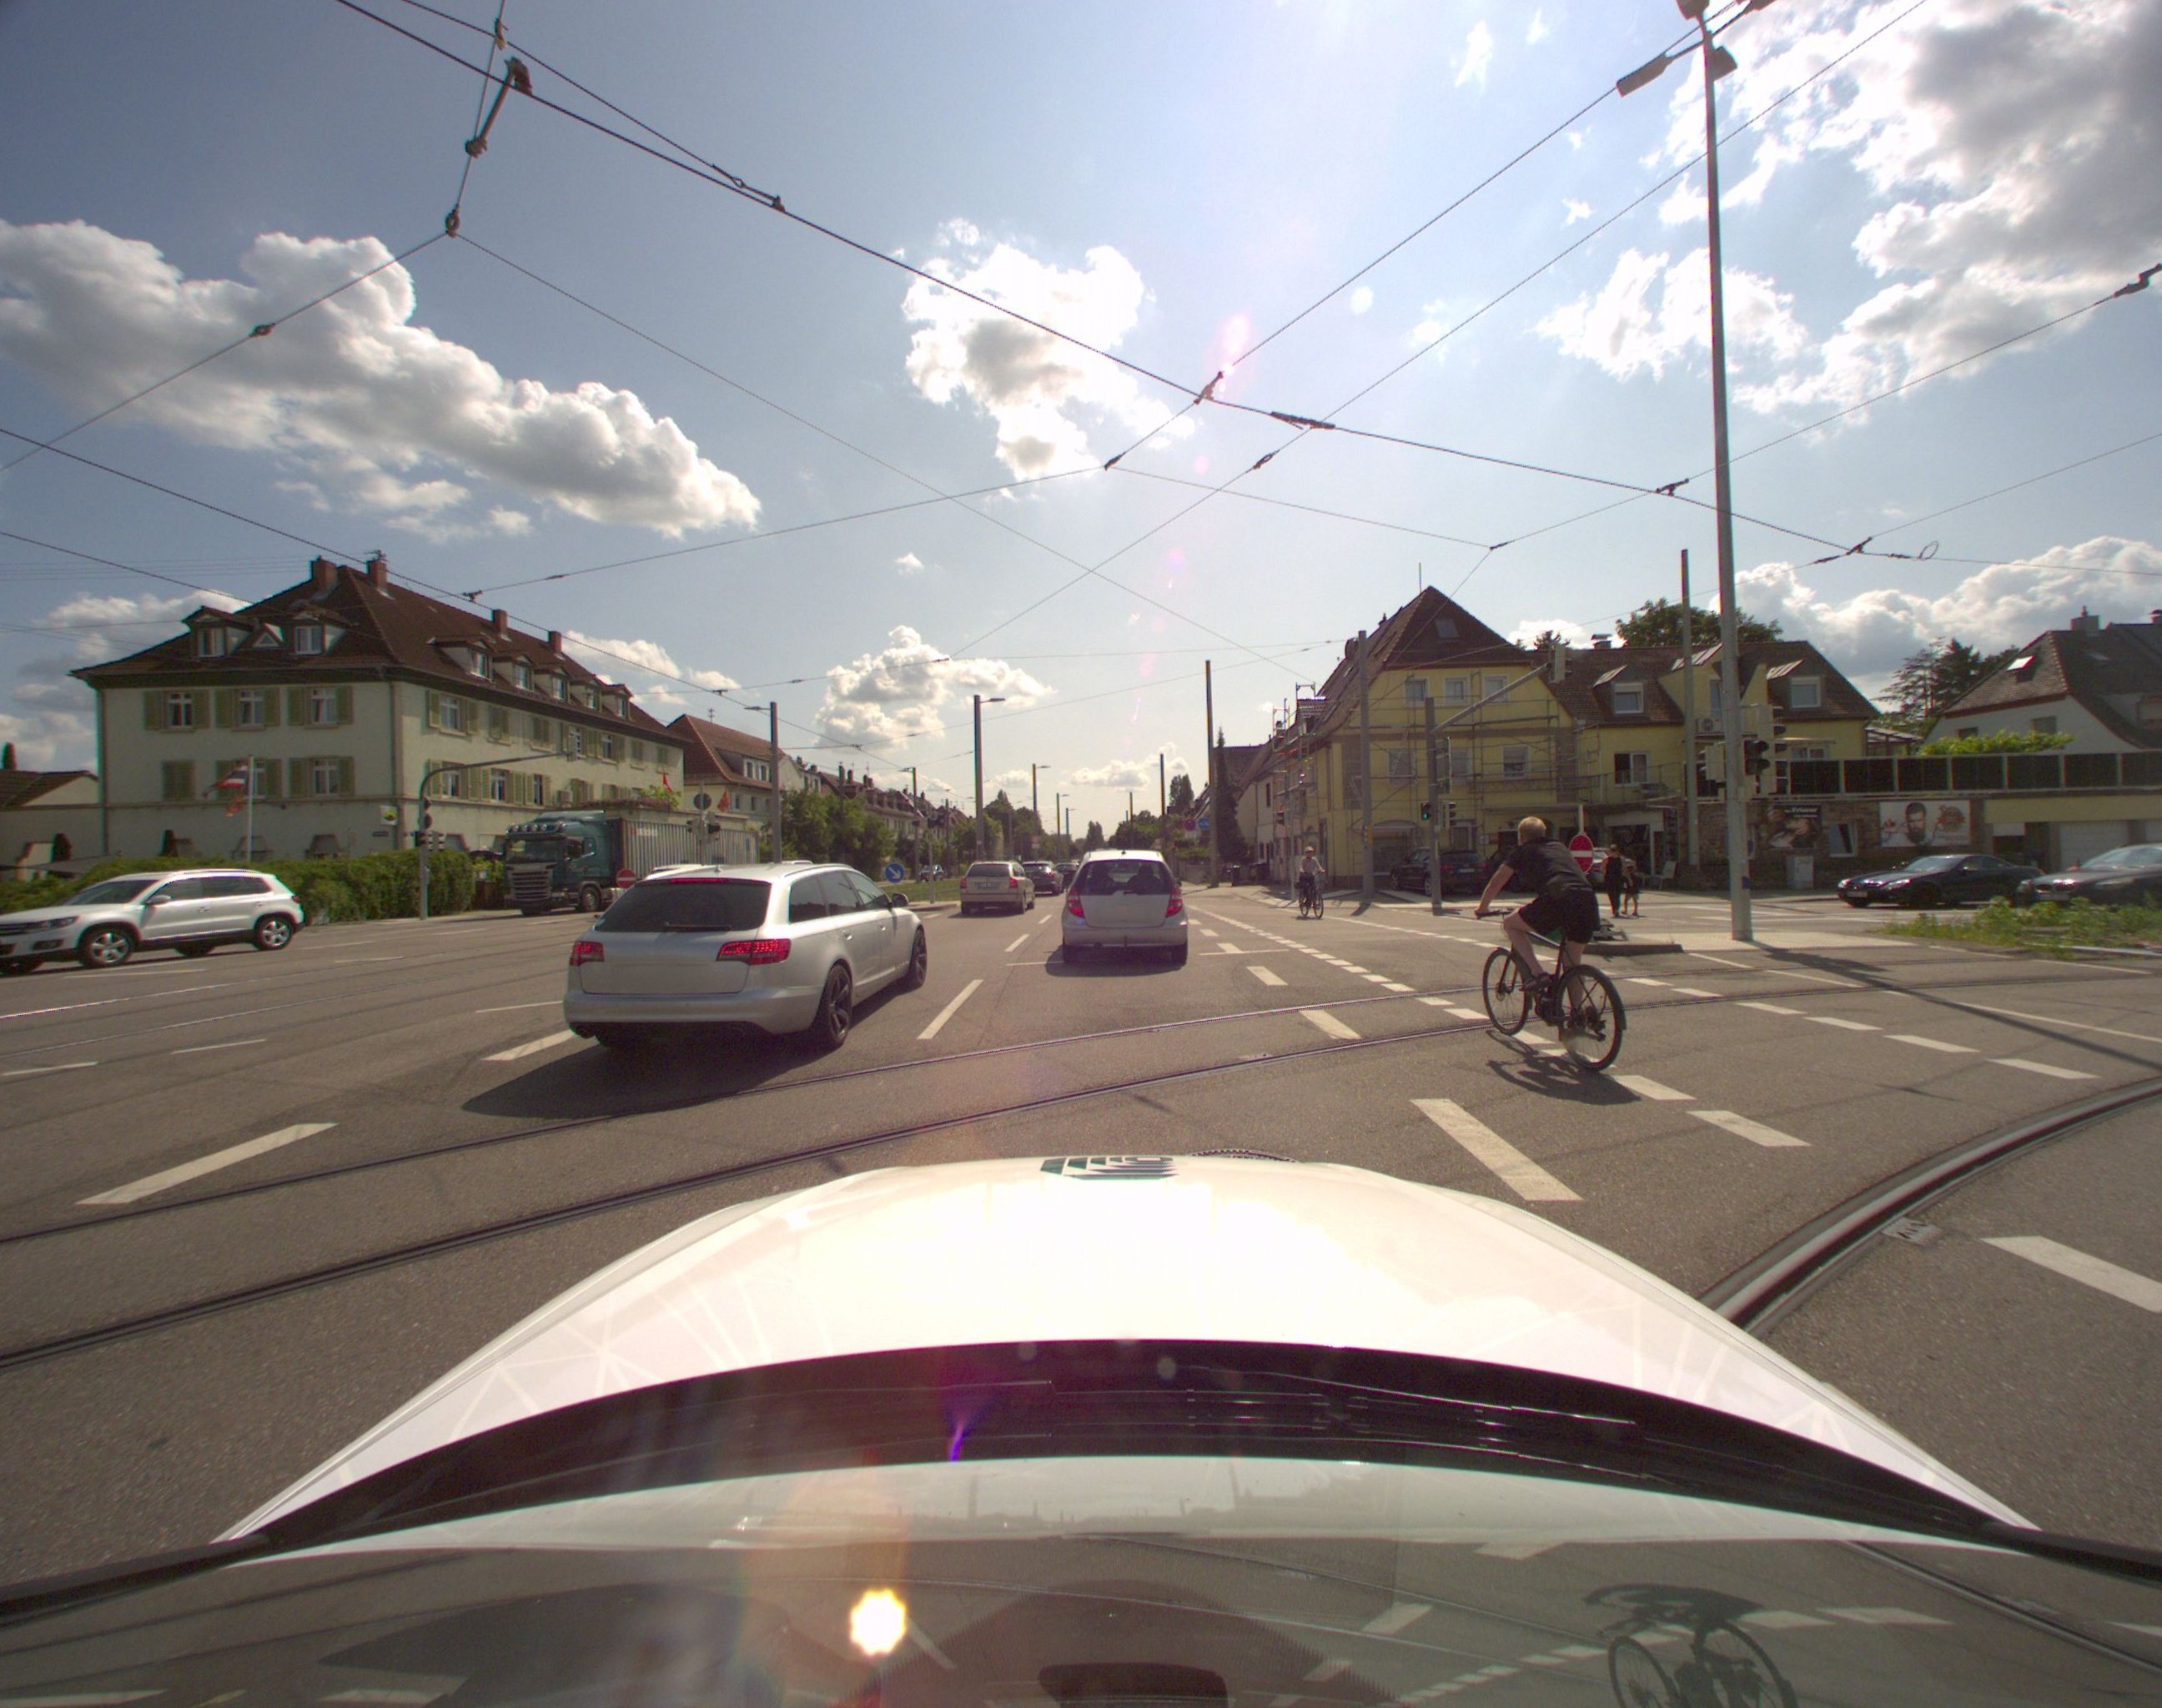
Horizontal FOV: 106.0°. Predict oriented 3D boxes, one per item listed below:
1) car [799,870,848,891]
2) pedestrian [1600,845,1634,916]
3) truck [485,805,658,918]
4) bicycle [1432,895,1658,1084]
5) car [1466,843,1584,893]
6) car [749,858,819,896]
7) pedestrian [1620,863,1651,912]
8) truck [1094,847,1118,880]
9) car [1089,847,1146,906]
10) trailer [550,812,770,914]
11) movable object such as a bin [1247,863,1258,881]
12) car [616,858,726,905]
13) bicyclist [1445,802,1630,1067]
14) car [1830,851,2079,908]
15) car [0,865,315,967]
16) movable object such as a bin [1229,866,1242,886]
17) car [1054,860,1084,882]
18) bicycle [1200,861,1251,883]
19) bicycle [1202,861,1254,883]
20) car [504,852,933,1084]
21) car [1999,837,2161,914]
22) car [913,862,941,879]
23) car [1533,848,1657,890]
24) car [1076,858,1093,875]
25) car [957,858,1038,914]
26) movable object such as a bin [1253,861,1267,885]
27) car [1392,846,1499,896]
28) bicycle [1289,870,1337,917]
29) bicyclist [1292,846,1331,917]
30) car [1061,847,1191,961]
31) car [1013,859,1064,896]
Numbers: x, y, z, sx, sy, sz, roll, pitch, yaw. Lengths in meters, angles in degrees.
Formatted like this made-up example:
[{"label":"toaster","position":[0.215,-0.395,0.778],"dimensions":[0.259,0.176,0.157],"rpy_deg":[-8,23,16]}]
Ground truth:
[{"label":"car","position":[-18.082,1.833,57.390],"dimensions":[1.787,1.387,4.474],"rpy_deg":[-2,-1,3]},{"label":"pedestrian","position":[12.594,0.615,19.147],"dimensions":[0.544,1.643,0.402],"rpy_deg":[0,-1,6]},{"label":"truck","position":[-19.418,0.260,31.517],"dimensions":[2.587,3.821,5.675],"rpy_deg":[-4,0,5]},{"label":"bicycle","position":[3.385,0.924,6.192],"dimensions":[0.823,1.075,1.976],"rpy_deg":[-3,0,9]},{"label":"car","position":[15.299,0.487,28.311],"dimensions":[1.986,1.596,4.133],"rpy_deg":[0,-1,2]},{"label":"car","position":[-15.476,1.167,42.703],"dimensions":[1.788,1.815,4.714],"rpy_deg":[-2,-1,2]},{"label":"pedestrian","position":[13.182,0.791,19.366],"dimensions":[0.486,1.136,0.389],"rpy_deg":[0,-1,2]},{"label":"truck","position":[1.963,0.754,65.208],"dimensions":[1.846,2.552,5.854],"rpy_deg":[0,-1,0]},{"label":"car","position":[1.214,0.710,26.636],"dimensions":[1.723,1.762,4.019],"rpy_deg":[0,-1,3]},{"label":"trailer","position":[-18.870,0.321,38.155],"dimensions":[2.587,3.821,12.852],"rpy_deg":[-4,0,4]},{"label":"movable object such as a bin","position":[9.447,0.995,44.932],"dimensions":[0.466,0.947,0.558],"rpy_deg":[-1,-1,2]},{"label":"car","position":[-15.993,1.051,32.053],"dimensions":[1.786,1.637,4.476],"rpy_deg":[-2,-1,4]},{"label":"bicyclist","position":[3.360,0.556,6.115],"dimensions":[0.823,1.794,1.087],"rpy_deg":[-3,0,9]},{"label":"car","position":[21.191,0.604,19.869],"dimensions":[4.303,1.308,1.739],"rpy_deg":[0,-1,-1]},{"label":"car","position":[-17.184,1.059,15.007],"dimensions":[1.986,1.552,4.180],"rpy_deg":[-5,-1,2]},{"label":"movable object such as a bin","position":[7.395,1.044,39.101],"dimensions":[0.509,0.918,0.742],"rpy_deg":[-1,-1,2]},{"label":"car","position":[-0.768,1.112,53.063],"dimensions":[1.846,1.388,4.514],"rpy_deg":[0,-1,0]},{"label":"bicycle","position":[8.017,0.997,45.254],"dimensions":[2.716,1.120,0.691],"rpy_deg":[-2,-1,1]},{"label":"bicycle","position":[8.016,0.977,44.526],"dimensions":[2.652,1.105,0.786],"rpy_deg":[-2,-1,1]},{"label":"car","position":[-2.762,0.746,7.601],"dimensions":[1.788,1.472,4.723],"rpy_deg":[-1,0,1]},{"label":"car","position":[21.014,0.360,15.883],"dimensions":[4.303,1.328,1.739],"rpy_deg":[-2,-1,-2]},{"label":"car","position":[-16.496,1.750,87.468],"dimensions":[2.007,1.712,4.937],"rpy_deg":[-2,-1,1]},{"label":"car","position":[17.743,0.528,28.350],"dimensions":[1.860,1.351,4.133],"rpy_deg":[0,-1,2]},{"label":"car","position":[0.374,1.357,90.081],"dimensions":[1.846,1.843,3.918],"rpy_deg":[0,-1,0]},{"label":"car","position":[-2.298,0.848,23.441],"dimensions":[1.724,1.449,4.125],"rpy_deg":[0,0,2]},{"label":"movable object such as a bin","position":[8.604,0.905,39.176],"dimensions":[0.509,1.105,0.855],"rpy_deg":[-1,-1,3]},{"label":"car","position":[12.478,0.581,28.199],"dimensions":[1.986,1.596,4.133],"rpy_deg":[0,-1,2]},{"label":"bicycle","position":[5.802,0.965,20.453],"dimensions":[0.649,1.117,1.585],"rpy_deg":[0,-1,-5]},{"label":"bicyclist","position":[5.802,0.675,20.521],"dimensions":[0.649,1.738,0.982],"rpy_deg":[0,-1,-5]},{"label":"car","position":[0.630,0.696,12.828],"dimensions":[1.724,1.517,4.016],"rpy_deg":[0,-1,1]},{"label":"car","position":[-1.766,0.976,35.444],"dimensions":[1.910,1.477,4.562],"rpy_deg":[0,-1,1]}]
